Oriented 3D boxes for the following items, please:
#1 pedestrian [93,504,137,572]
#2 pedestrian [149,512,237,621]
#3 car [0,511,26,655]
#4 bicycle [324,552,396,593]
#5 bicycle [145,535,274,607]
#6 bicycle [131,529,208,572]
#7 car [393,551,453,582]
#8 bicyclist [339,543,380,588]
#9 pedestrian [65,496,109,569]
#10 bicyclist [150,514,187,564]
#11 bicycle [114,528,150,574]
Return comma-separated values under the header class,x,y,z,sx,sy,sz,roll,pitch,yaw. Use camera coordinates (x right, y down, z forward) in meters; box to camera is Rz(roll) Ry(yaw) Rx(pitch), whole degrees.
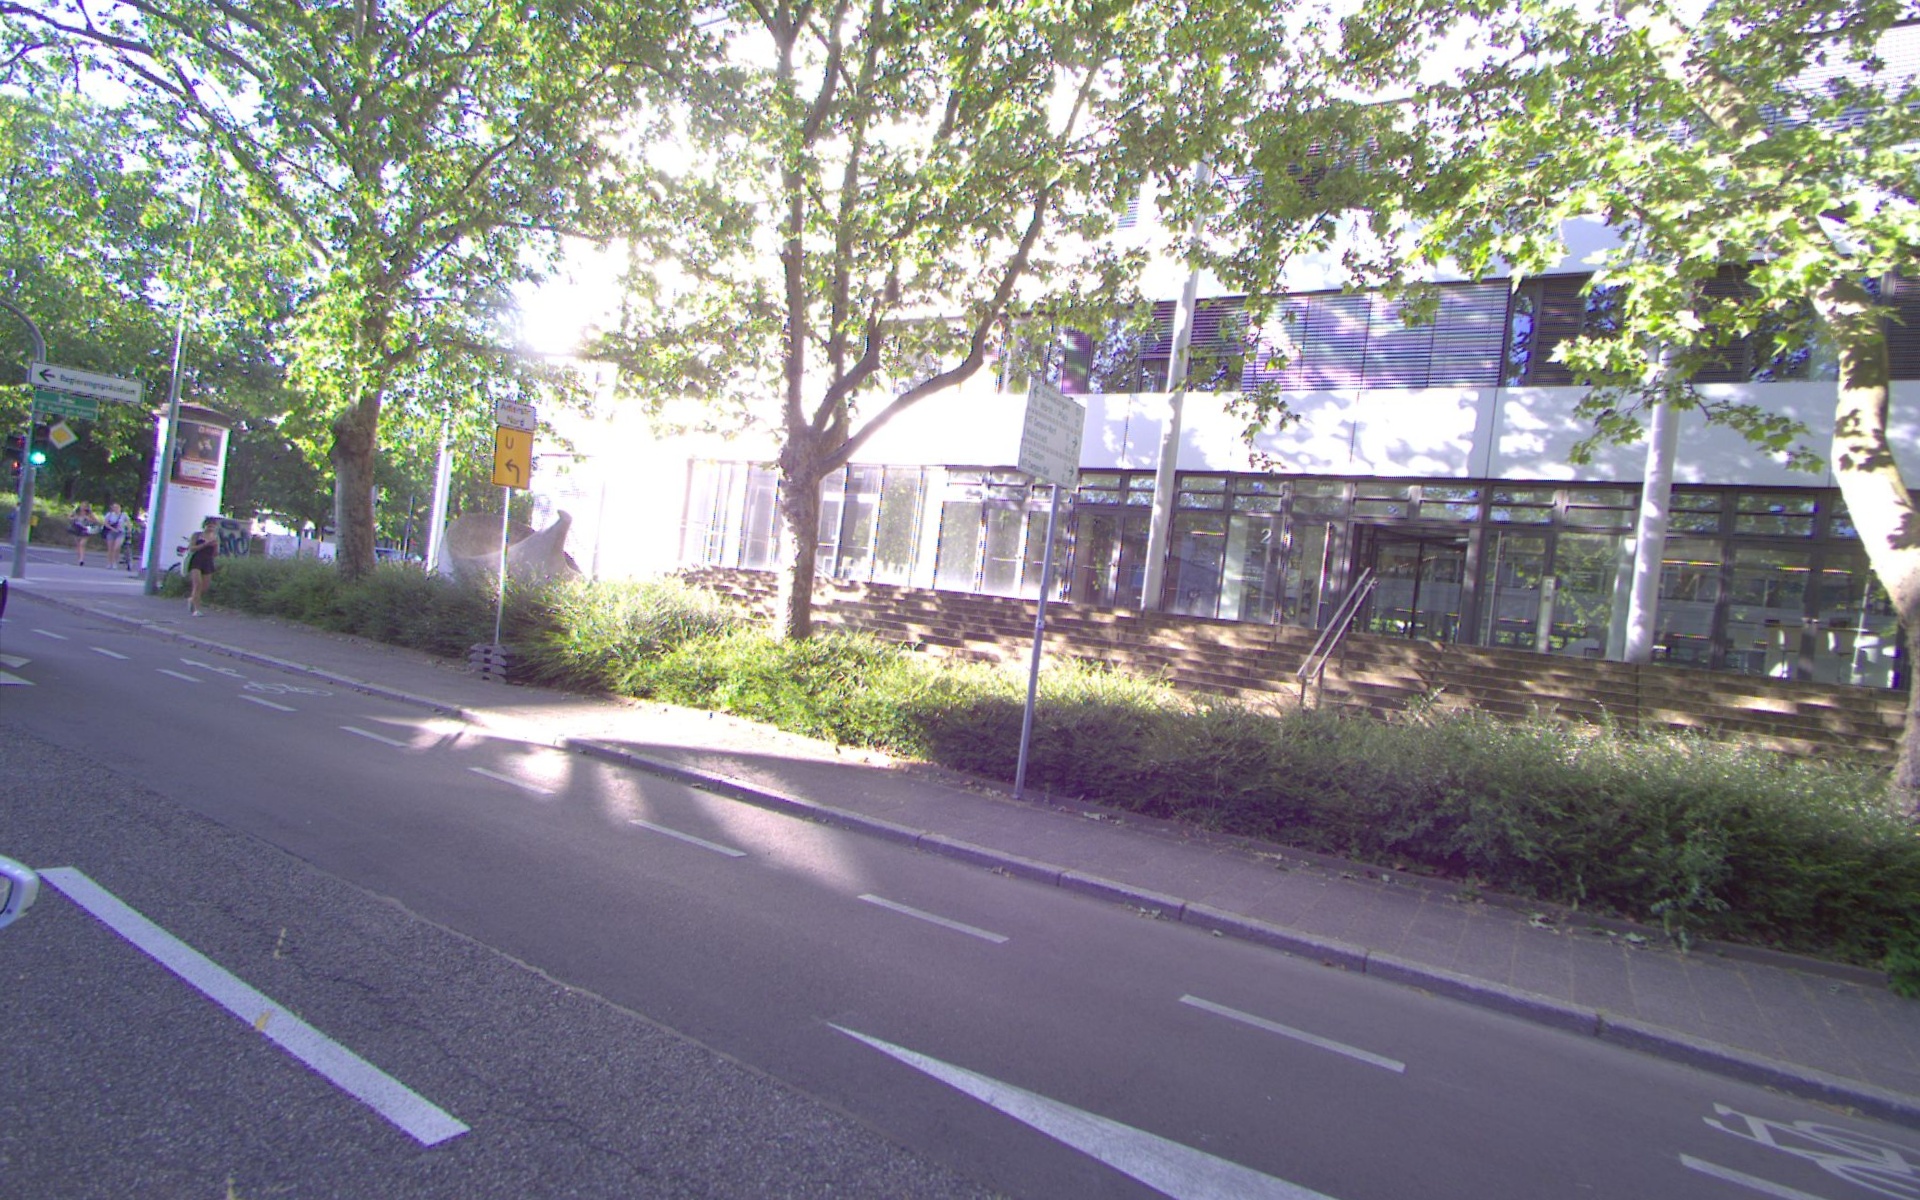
class,x,y,z,sx,sy,sz,roll,pitch,yaw
pedestrian,-22.570,-1.655,26.869,0.681,1.717,0.959,8,-1,-44
pedestrian,-12.544,-0.544,16.462,0.893,1.651,0.798,6,0,33
car,-9.371,-0.202,8.179,1.833,1.445,4.476,8,-2,-34
bicycle,-23.943,-1.077,40.208,0.649,1.341,2.293,6,-2,32
bicycle,-15.421,-0.566,20.728,0.519,1.203,1.980,6,-2,30
bicycle,-29.041,-1.802,36.984,0.589,1.234,2.035,6,-2,31
car,-35.060,-2.193,65.639,3.732,1.500,1.633,6,-2,31
bicyclist,-23.969,-1.376,40.149,0.856,1.634,0.965,6,-1,34
pedestrian,-23.076,-1.772,26.578,0.729,1.830,0.898,6,0,-43
bicyclist,-29.048,-2.233,36.937,0.664,1.717,0.711,6,-1,32
bicycle,-22.325,-1.333,27.116,0.523,1.113,1.720,8,-2,-43
